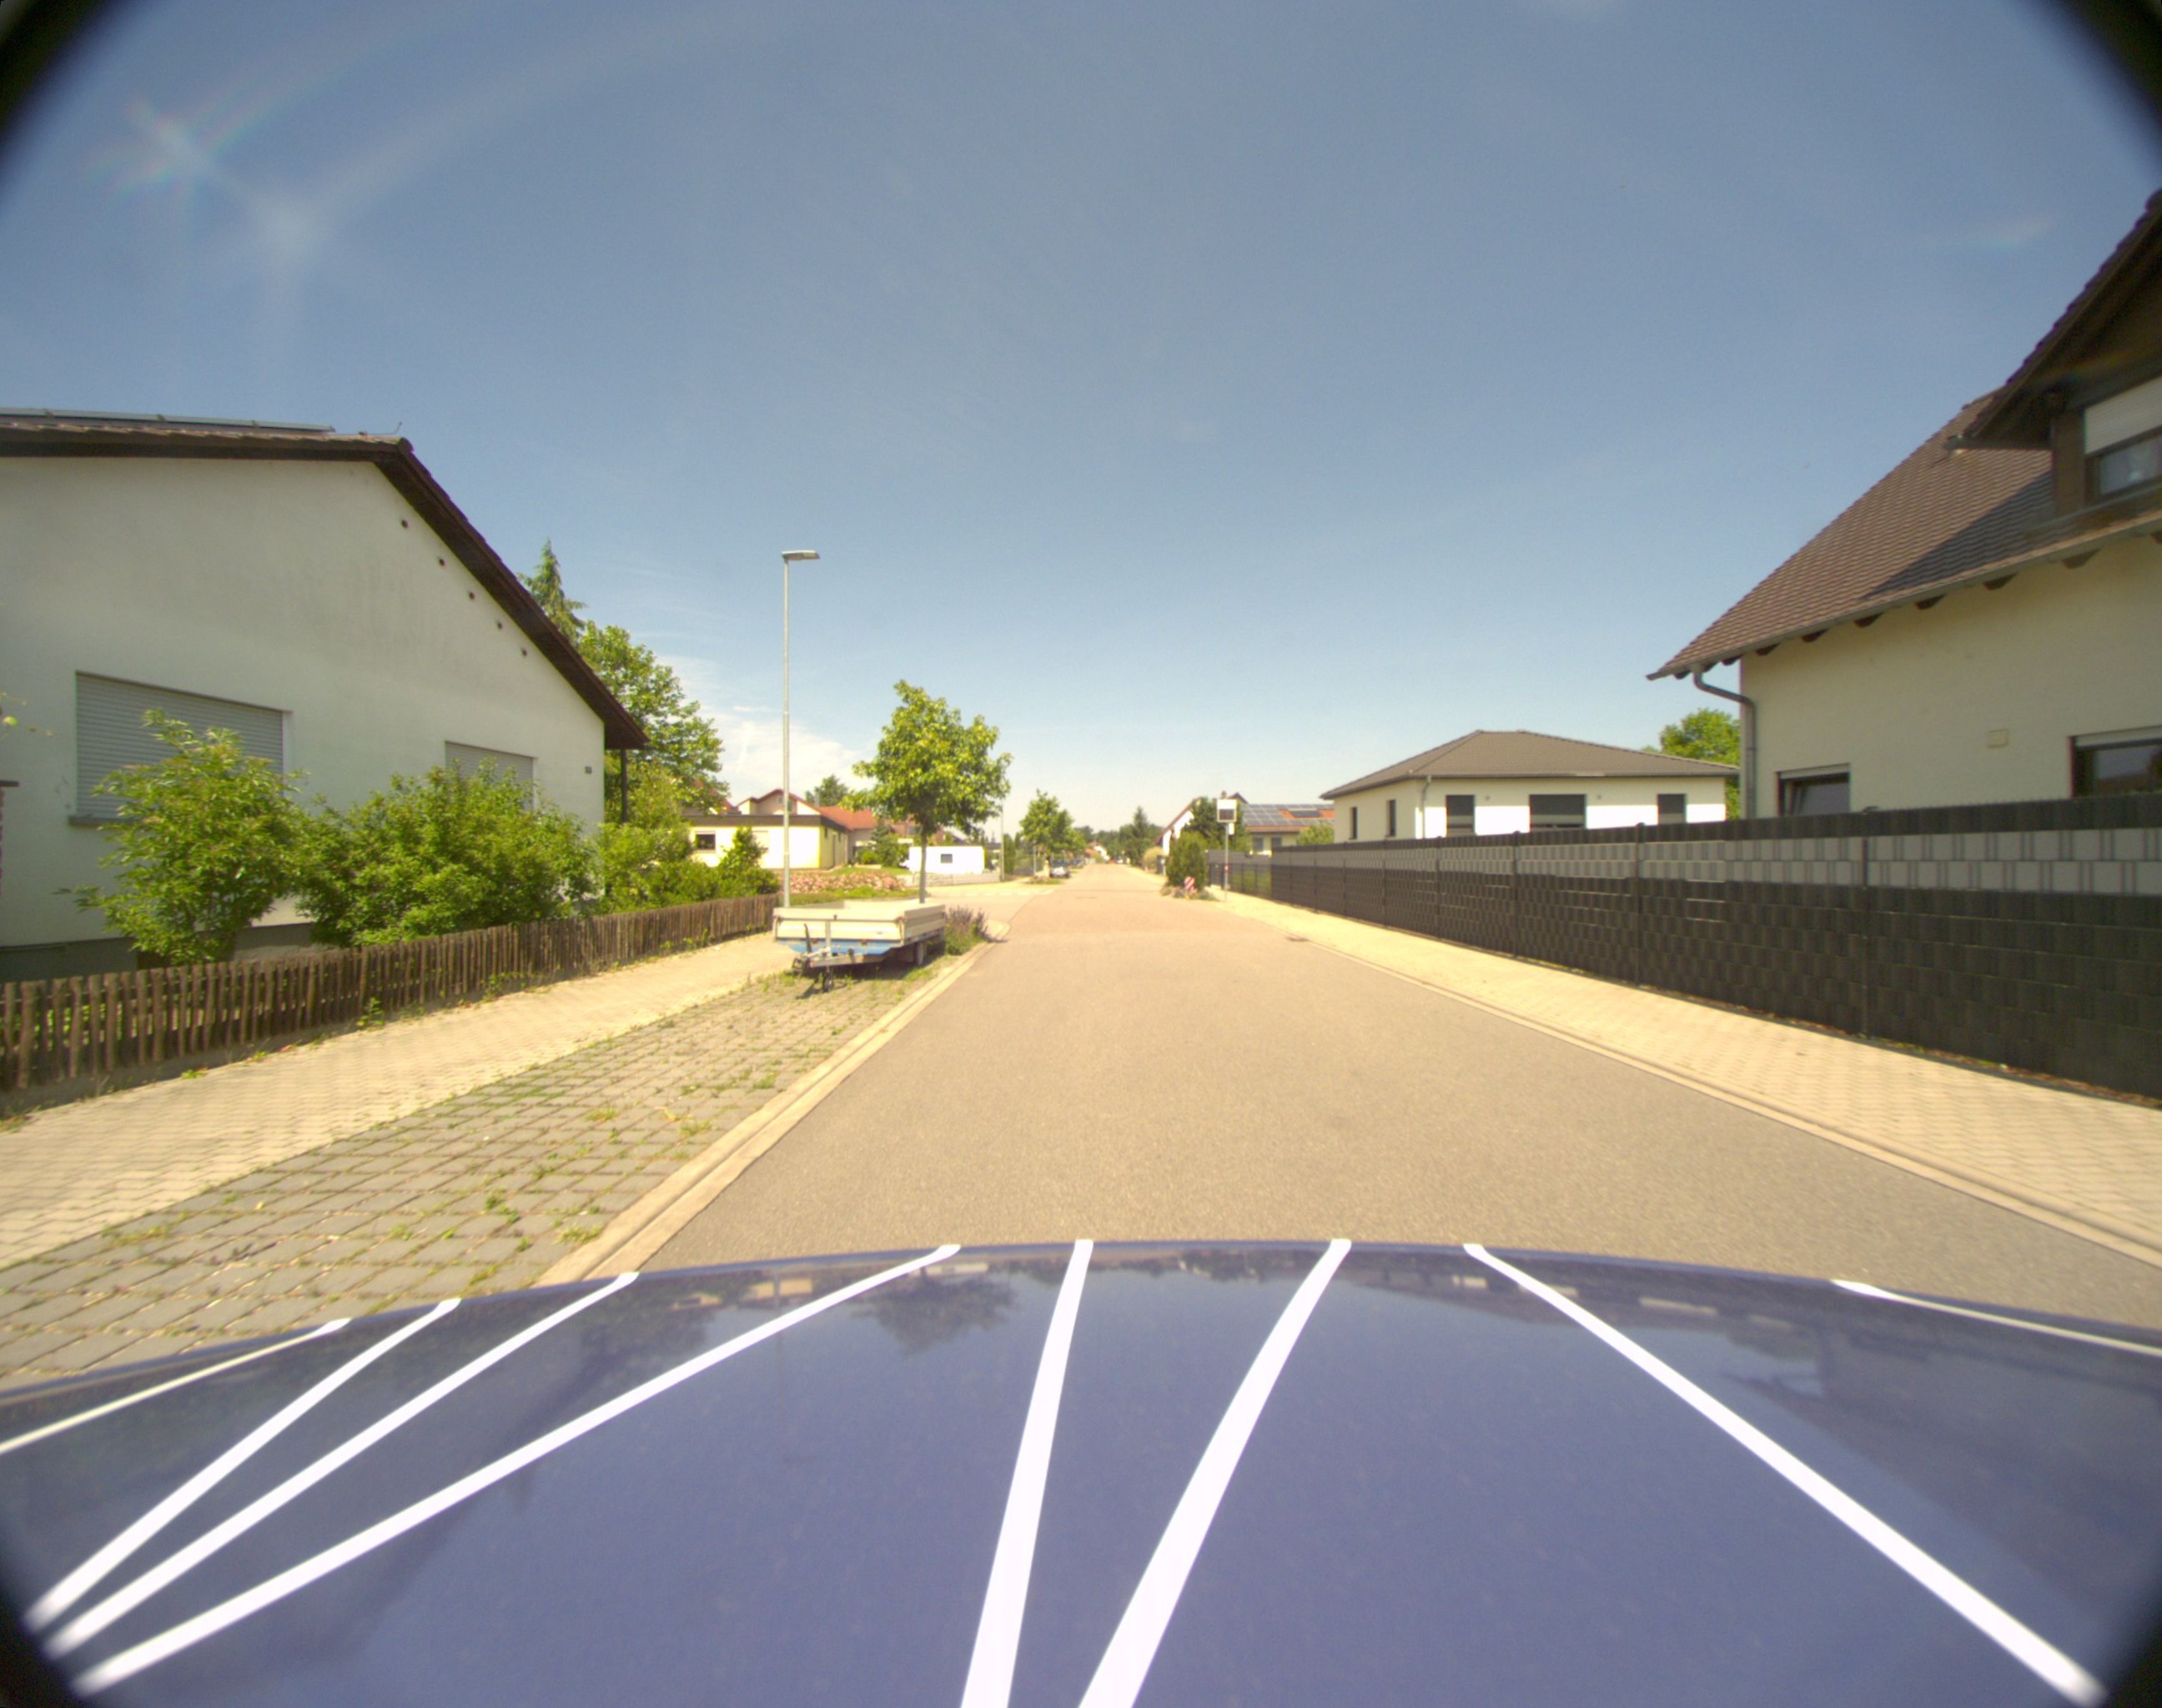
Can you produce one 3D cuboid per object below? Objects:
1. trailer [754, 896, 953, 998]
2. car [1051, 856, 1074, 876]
[{"bbox_3d":[-2.928,1.175,10.409,1.792,1.052,2.899,0,0,1],"label":"trailer"},{"bbox_3d":[-1.564,0.976,64.775,1.597,1.630,3.803,1,0,4],"label":"car"}]
